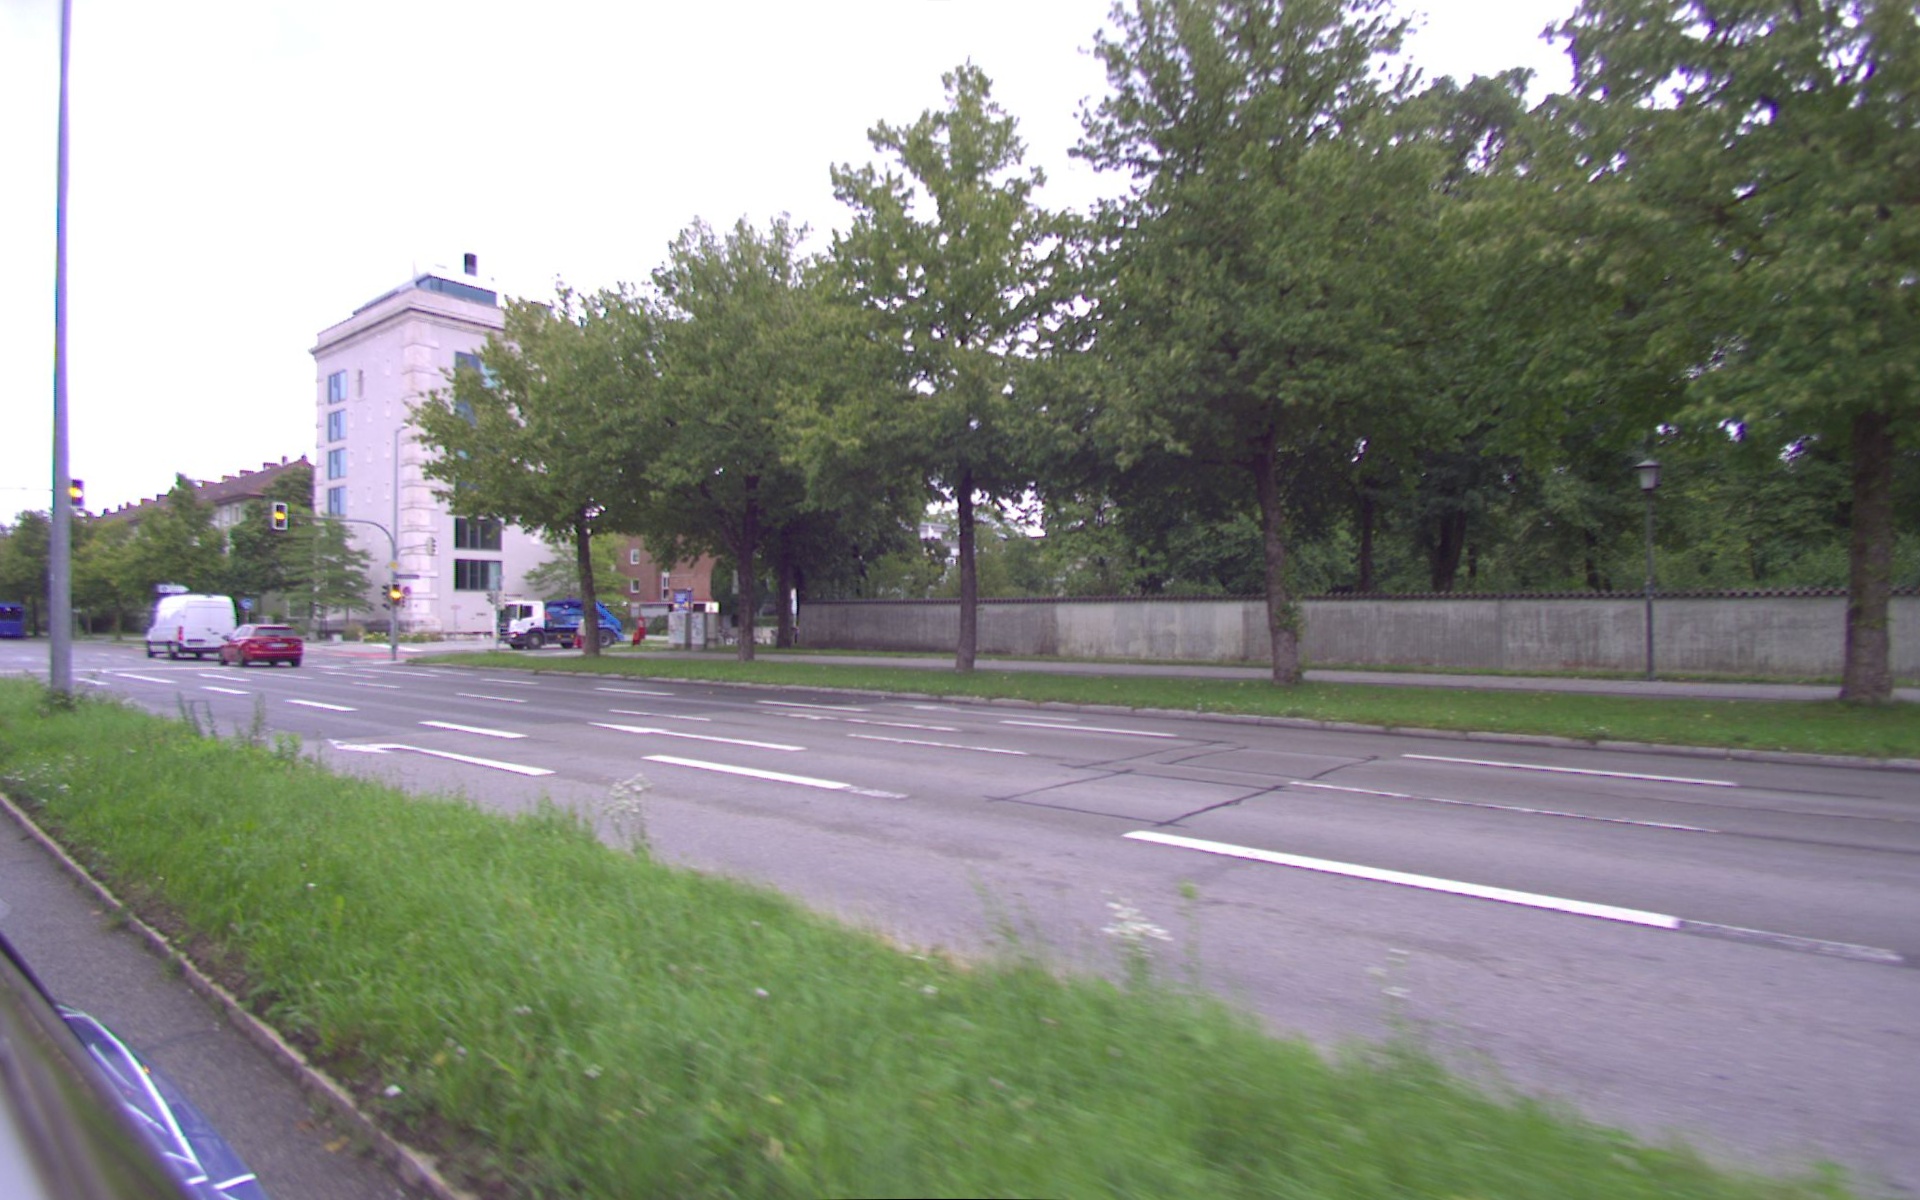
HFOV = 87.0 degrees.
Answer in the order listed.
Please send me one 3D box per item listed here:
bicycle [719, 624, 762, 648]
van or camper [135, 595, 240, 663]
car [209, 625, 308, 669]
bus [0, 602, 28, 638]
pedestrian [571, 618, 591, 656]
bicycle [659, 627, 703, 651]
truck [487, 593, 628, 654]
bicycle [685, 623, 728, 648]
[{"bbox_3d":[-11.501,1.867,52.982,2.494,1.195,0.827,-1,-1,40],"label":"bicycle"},{"bbox_3d":[-32.727,1.240,42.792,6.948,2.667,2.155,-1,-3,41],"label":"van or camper"},{"bbox_3d":[-24.702,1.636,35.572,4.654,1.463,1.725,-2,-4,41],"label":"car"},{"bbox_3d":[-93.107,1.955,97.819,12.037,3.369,2.718,-1,-3,39],"label":"bus"},{"bbox_3d":[-17.452,1.706,46.580,0.516,1.753,0.701,-1,-1,36],"label":"pedestrian"},{"bbox_3d":[-13.843,1.916,50.135,2.494,1.195,0.827,-1,-1,40],"label":"bicycle"},{"bbox_3d":[-24.689,1.401,62.407,2.772,3.515,7.714,-1,-1,42],"label":"truck"},{"bbox_3d":[-12.858,1.793,51.331,2.494,1.195,0.827,-1,-1,40],"label":"bicycle"}]
